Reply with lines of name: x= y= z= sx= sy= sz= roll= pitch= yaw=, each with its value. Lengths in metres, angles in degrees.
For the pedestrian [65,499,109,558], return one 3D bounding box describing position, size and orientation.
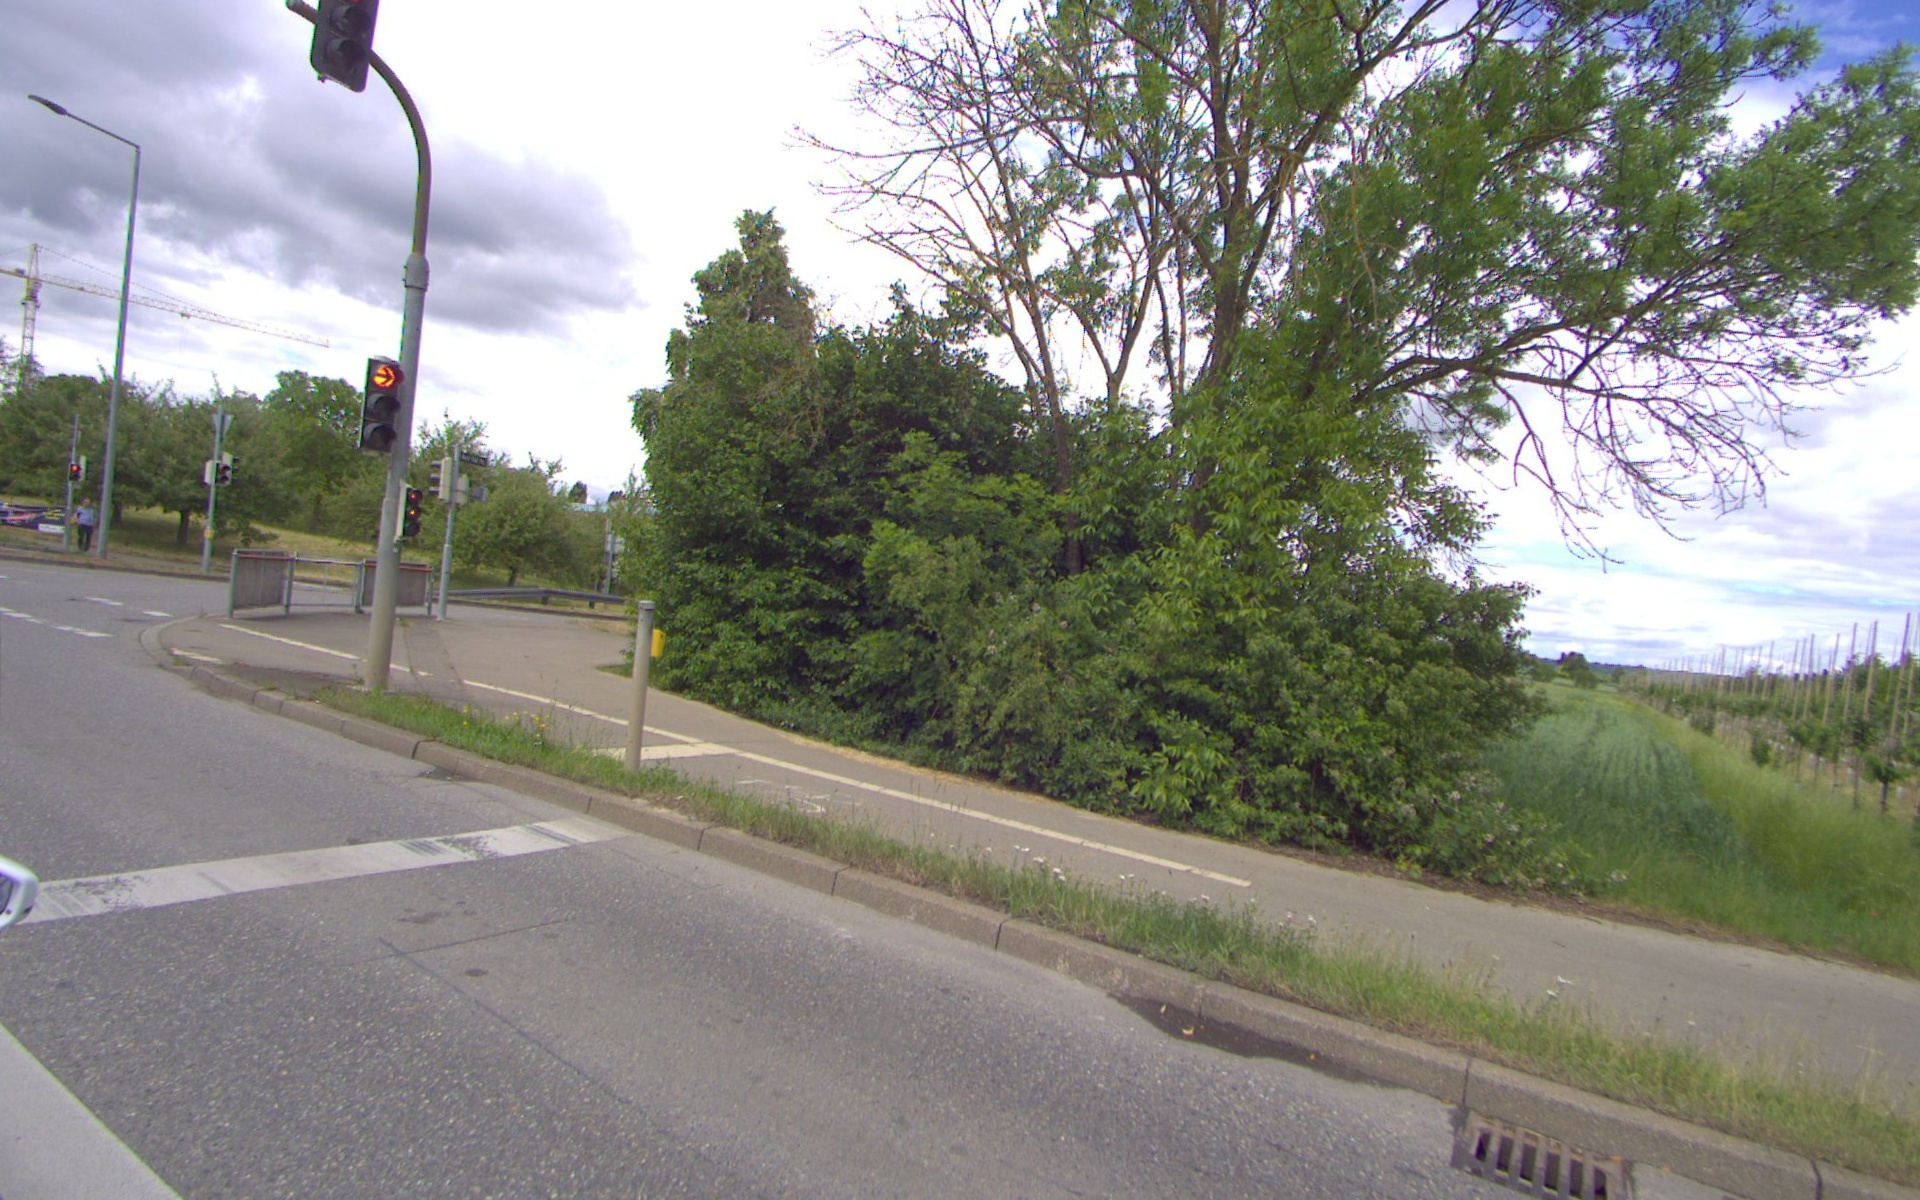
pedestrian: x=-29.383 y=-2.408 z=33.855 sx=1.027 sy=1.813 sz=0.719 roll=6 pitch=-1 yaw=35
